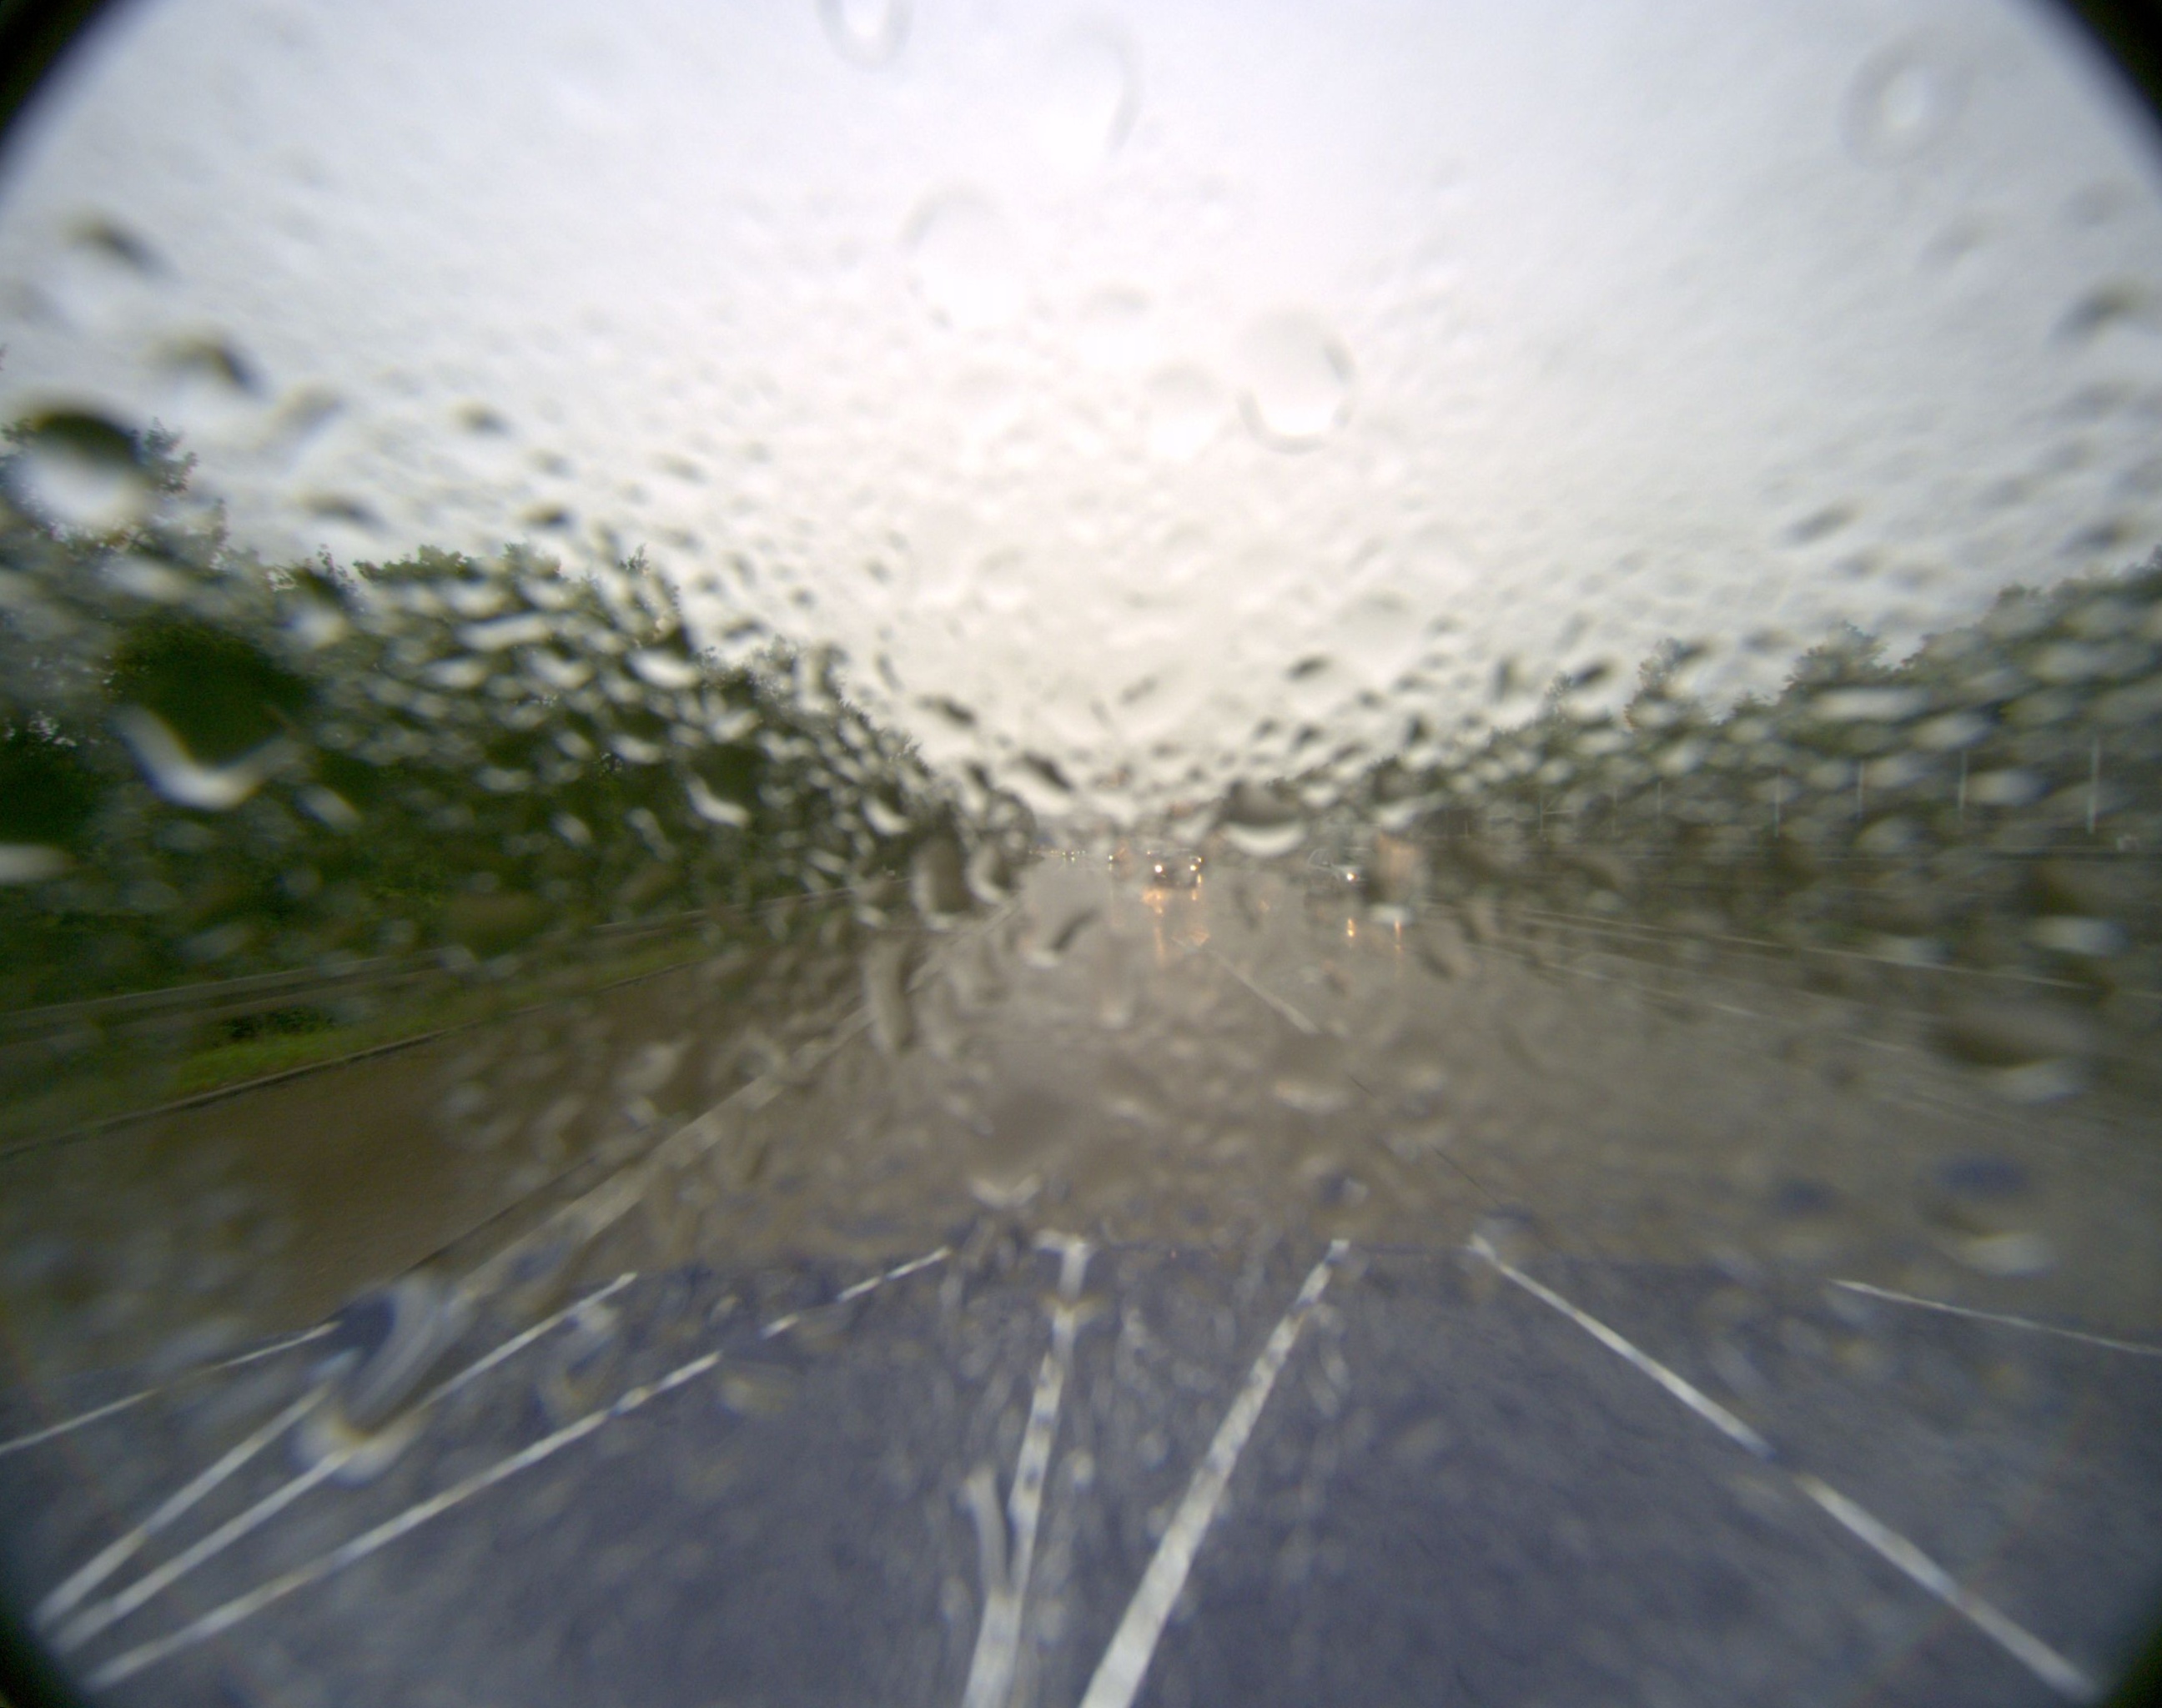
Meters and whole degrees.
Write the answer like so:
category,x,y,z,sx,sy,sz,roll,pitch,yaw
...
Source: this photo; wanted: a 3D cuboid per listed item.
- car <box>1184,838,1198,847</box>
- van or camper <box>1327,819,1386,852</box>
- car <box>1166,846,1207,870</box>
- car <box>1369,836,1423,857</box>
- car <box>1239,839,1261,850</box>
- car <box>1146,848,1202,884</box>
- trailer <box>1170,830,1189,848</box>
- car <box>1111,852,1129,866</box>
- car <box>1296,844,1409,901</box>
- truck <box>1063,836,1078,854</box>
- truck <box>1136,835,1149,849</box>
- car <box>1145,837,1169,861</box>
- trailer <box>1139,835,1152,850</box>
category,x,y,z,sx,sy,sz,roll,pitch,yaw
car,20.465,-2.142,141.268,1.998,1.674,3.999,-2,1,0
van or camper,24.370,-1.591,67.556,2.562,2.702,7.498,-2,1,1
car,6.680,0.214,48.437,1.934,1.426,4.517,0,1,0
car,21.363,-0.513,51.675,1.757,1.296,4.343,-4,1,0
car,21.180,-1.214,95.383,1.757,1.296,4.343,-4,1,0
car,3.973,0.464,33.174,1.934,1.426,4.517,0,1,1
trailer,23.285,-3.498,180.364,2.774,3.779,13.776,-4,1,1
car,4.332,0.518,85.011,1.934,1.426,4.517,0,1,1
car,7.580,0.458,21.683,1.671,1.426,4.349,-1,1,0
truck,-2.254,-2.007,173.090,3.058,3.996,10.042,0,0,1
truck,19.265,-3.609,238.667,2.855,4.130,10.176,-4,1,0
car,8.563,-0.535,86.182,2.046,2.616,6.402,0,1,0
trailer,19.334,-3.520,229.300,2.855,4.130,8.523,-4,1,0
